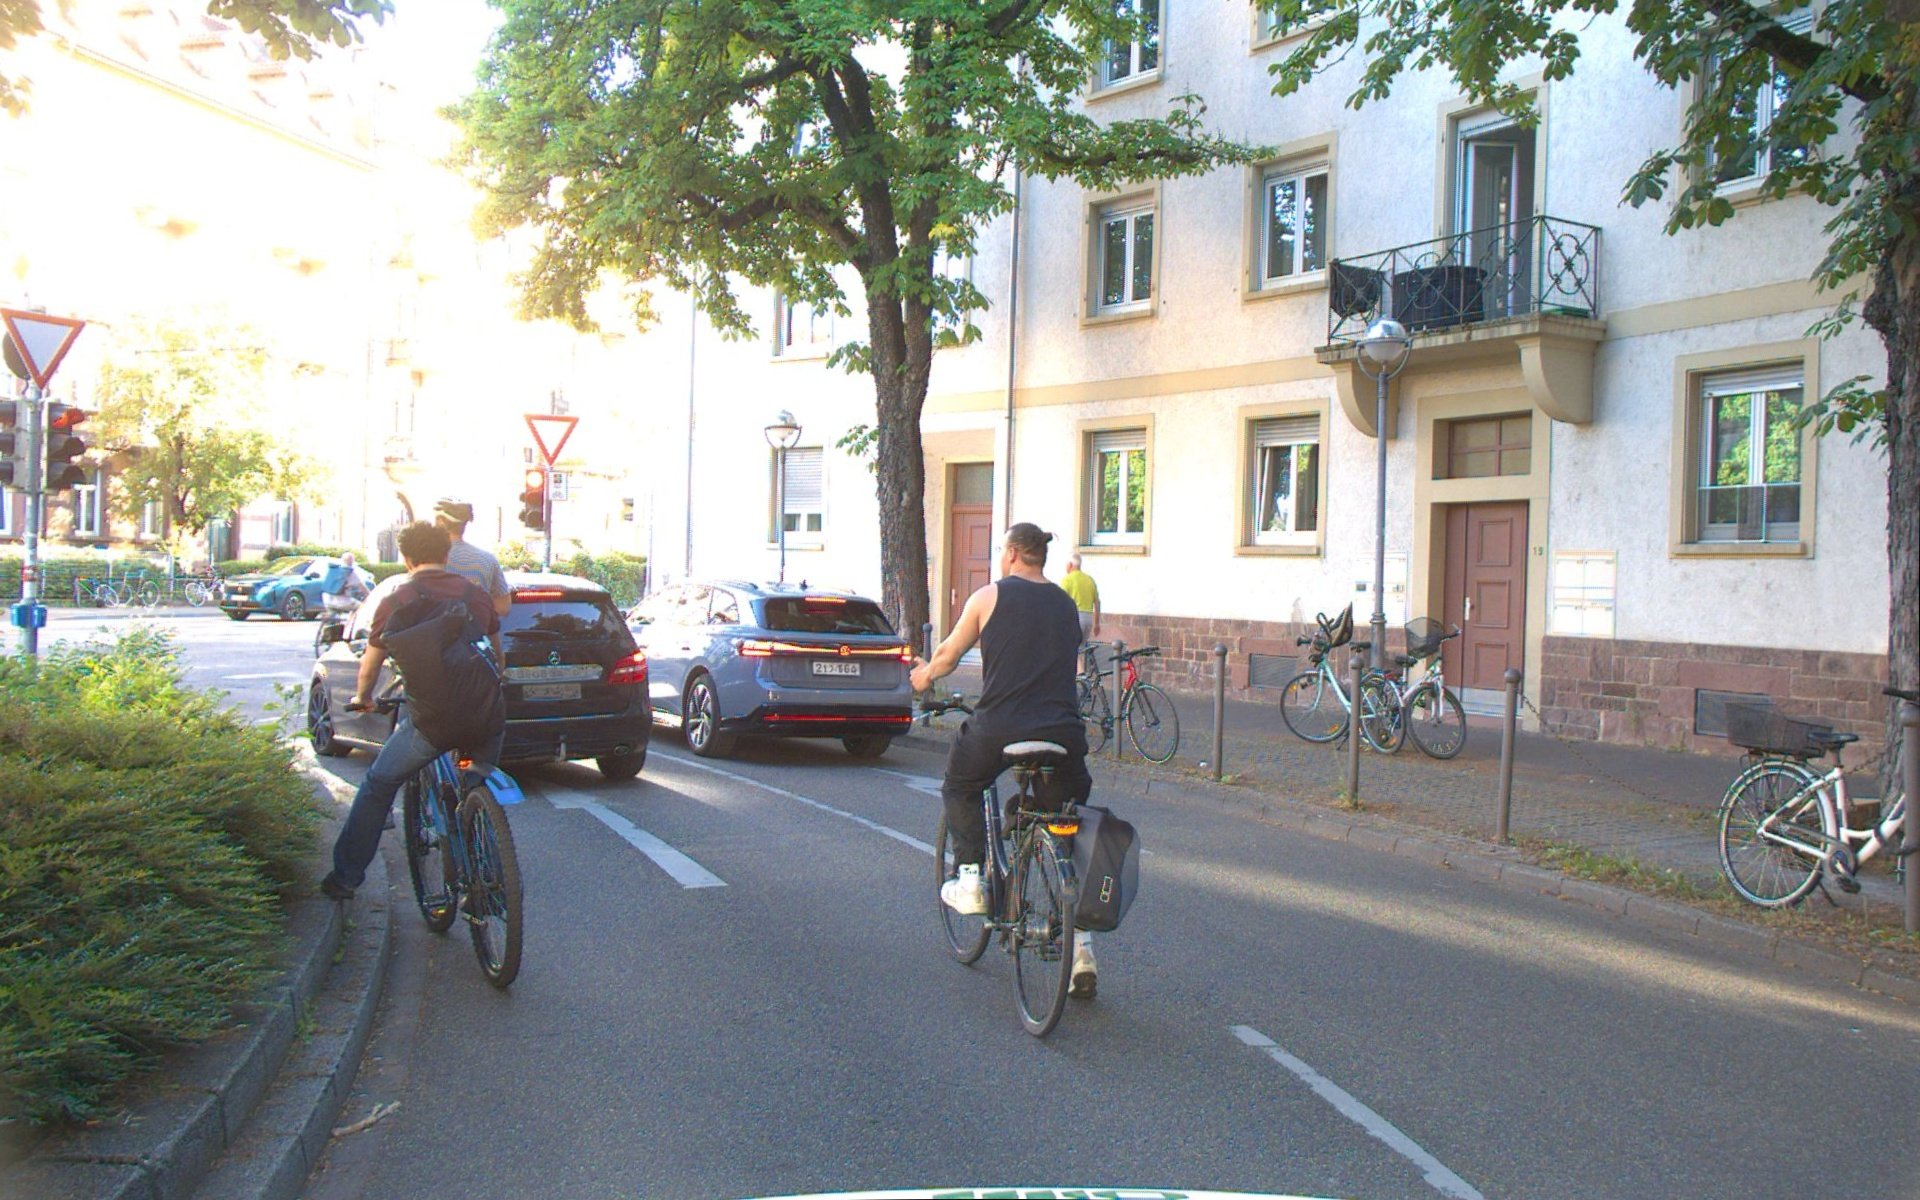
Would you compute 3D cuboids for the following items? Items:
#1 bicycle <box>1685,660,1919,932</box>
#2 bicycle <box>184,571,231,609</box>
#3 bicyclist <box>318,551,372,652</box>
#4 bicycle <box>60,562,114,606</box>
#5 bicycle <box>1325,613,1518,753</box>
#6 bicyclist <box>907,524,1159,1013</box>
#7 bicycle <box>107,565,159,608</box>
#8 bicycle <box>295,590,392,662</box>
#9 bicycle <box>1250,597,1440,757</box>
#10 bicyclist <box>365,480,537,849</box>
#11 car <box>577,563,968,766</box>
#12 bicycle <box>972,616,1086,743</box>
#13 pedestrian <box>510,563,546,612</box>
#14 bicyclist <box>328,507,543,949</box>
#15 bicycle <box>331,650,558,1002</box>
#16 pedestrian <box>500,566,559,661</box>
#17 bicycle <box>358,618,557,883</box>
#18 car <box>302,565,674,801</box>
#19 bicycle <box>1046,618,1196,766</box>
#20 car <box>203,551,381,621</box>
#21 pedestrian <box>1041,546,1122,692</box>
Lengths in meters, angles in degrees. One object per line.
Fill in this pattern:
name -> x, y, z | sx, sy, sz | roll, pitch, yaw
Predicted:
bicycle -> 4.302, 0.888, 7.681 | 0.505, 1.114, 1.962 | 0, 1, -20
bicycle -> -21.463, -0.292, 47.177 | 0.433, 1.056, 1.234 | 3, 1, 21
bicyclist -> -10.068, 0.022, 27.090 | 0.517, 1.626, 0.675 | 2, 0, 11
bicycle -> -22.918, -0.419, 43.435 | 0.433, 1.126, 1.233 | 3, 1, 22
bicycle -> 4.122, 0.718, 14.953 | 0.657, 1.126, 1.956 | 2, 0, -19
bicyclist -> 0.247, 0.573, 6.259 | 0.675, 1.685, 0.985 | 0, 1, -15
bicycle -> -22.360, -0.370, 44.729 | 0.433, 1.126, 1.233 | 3, 1, 22
bicycle -> -10.076, 0.408, 27.109 | 0.523, 1.126, 1.968 | 2, 0, 10
bicycle -> 3.424, 0.647, 14.926 | 0.707, 1.299, 1.955 | 0, 1, -21
bicyclist -> -2.887, 0.341, 9.329 | 0.783, 1.946, 0.938 | 2, 0, -23
car -> -1.947, 0.530, 15.750 | 1.951, 1.613, 4.427 | 4, -1, -32
bicycle -> 0.643, 0.737, 15.999 | 0.474, 1.082, 1.625 | -1, 2, -22
pedestrian -> -15.247, -0.437, 58.424 | 0.698, 1.693, 0.895 | 5, 2, 33
bicyclist -> -2.037, 0.466, 6.537 | 0.695, 1.601, 0.953 | 2, 0, -14
bicycle -> -2.035, 0.820, 6.756 | 0.705, 1.126, 1.960 | 2, 0, -13
pedestrian -> -7.926, 0.246, 30.410 | 0.889, 1.663, 0.721 | 3, 1, -21
bicycle -> -2.837, 0.747, 9.165 | 0.799, 1.205, 2.211 | 2, 1, -23
car -> -3.867, 0.510, 13.126 | 1.774, 1.569, 3.814 | -1, 1, -34
bicycle -> 1.374, 0.762, 14.431 | 0.519, 1.126, 1.728 | -1, 2, -24
car -> -17.270, -0.351, 43.010 | 1.901, 1.678, 4.413 | 2, 1, 17
pedestrian -> 1.502, 0.212, 20.533 | 0.635, 1.757, 0.880 | -1, 2, -27
